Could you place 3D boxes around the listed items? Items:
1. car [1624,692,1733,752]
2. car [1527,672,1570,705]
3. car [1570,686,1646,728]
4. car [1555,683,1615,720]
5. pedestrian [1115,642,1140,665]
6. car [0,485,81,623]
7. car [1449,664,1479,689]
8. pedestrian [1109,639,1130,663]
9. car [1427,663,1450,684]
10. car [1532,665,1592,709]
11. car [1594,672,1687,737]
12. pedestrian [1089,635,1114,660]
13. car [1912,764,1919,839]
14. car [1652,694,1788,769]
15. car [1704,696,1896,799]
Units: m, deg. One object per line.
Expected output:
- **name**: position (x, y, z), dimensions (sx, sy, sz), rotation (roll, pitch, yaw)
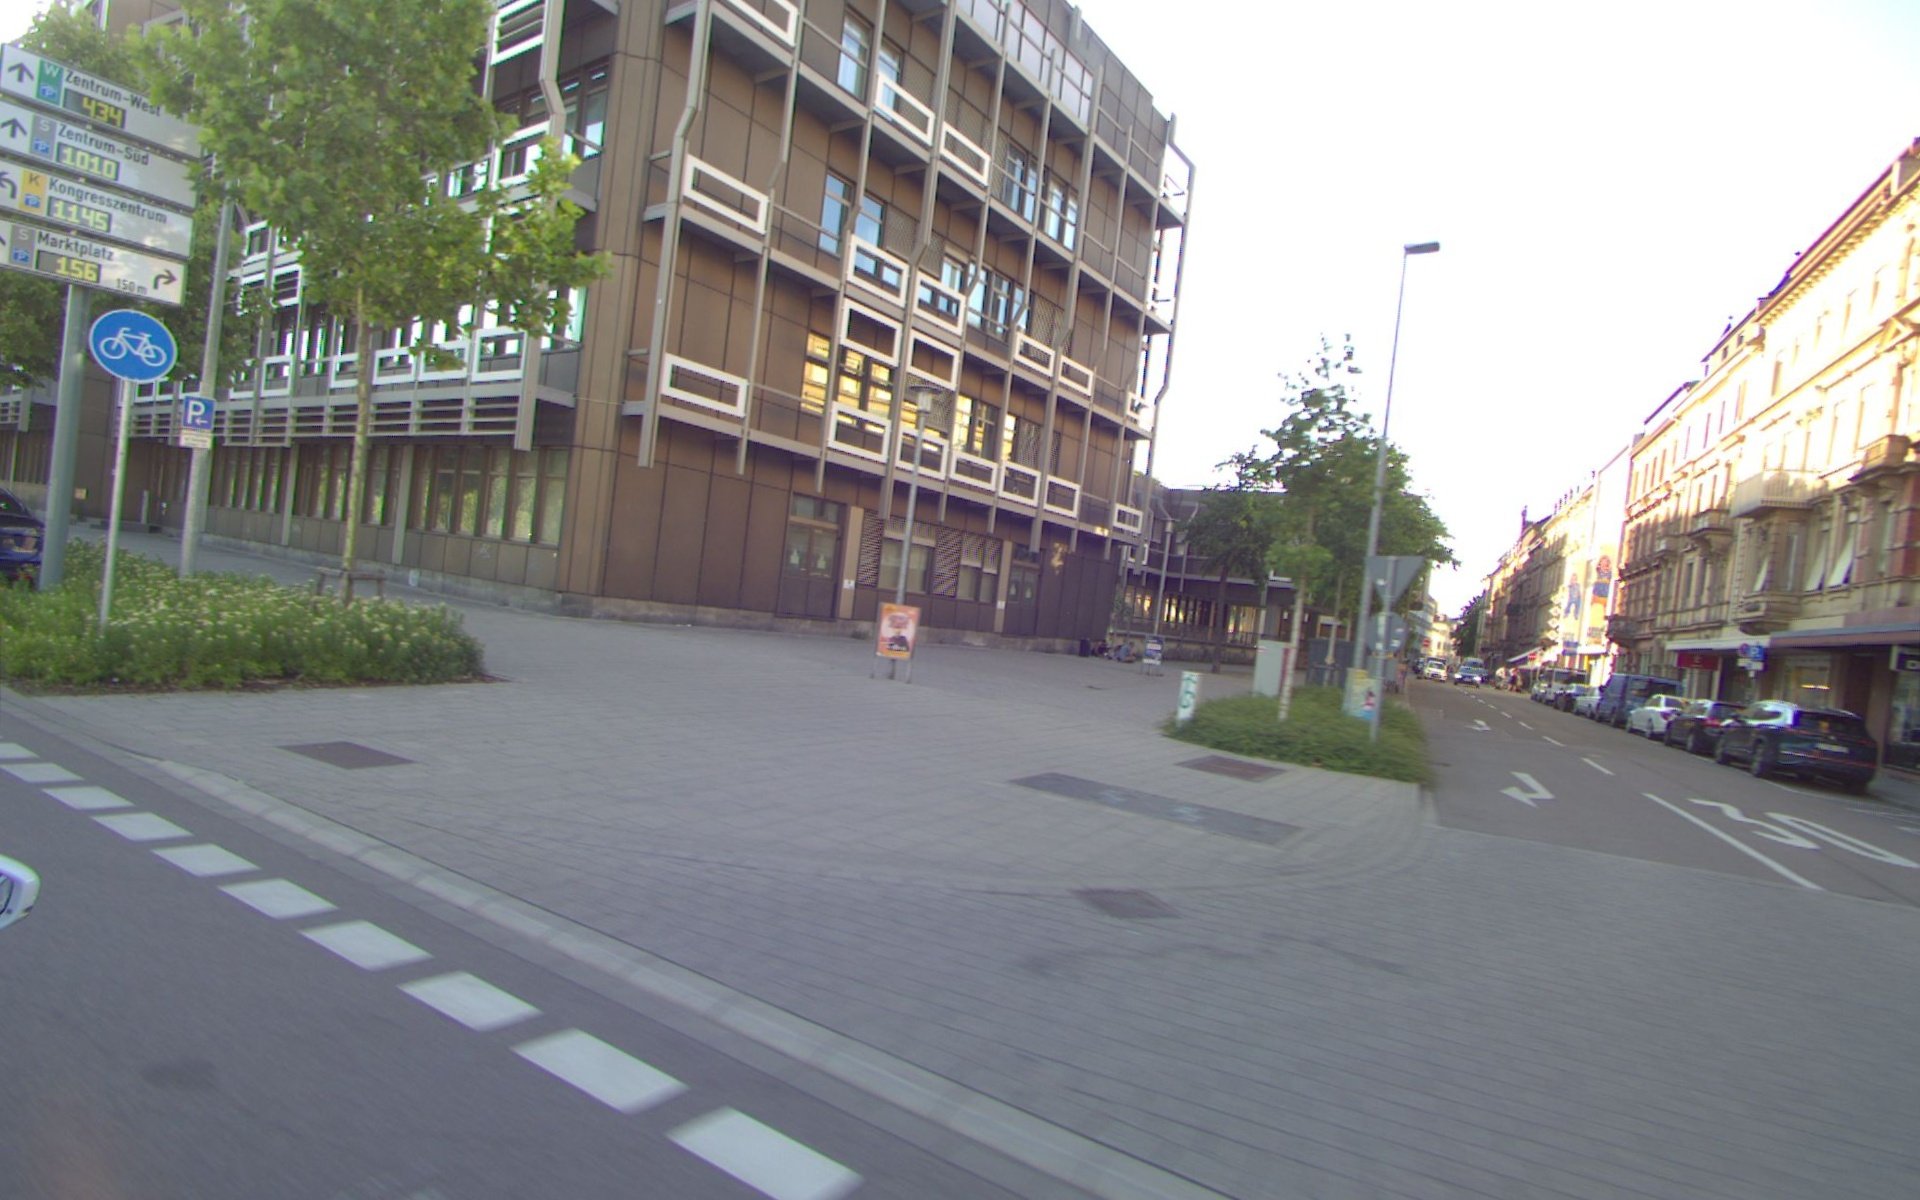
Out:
- **car**: position (22.248, 3.732, 31.319), dimensions (1.829, 1.408, 3.870), rotation (6, -1, 23)
- **car**: position (34.522, 5.168, 59.081), dimensions (1.628, 1.629, 3.378), rotation (6, -1, 24)
- **car**: position (26.739, 4.386, 41.649), dimensions (1.829, 1.347, 4.068), rotation (6, -1, 23)
- **car**: position (28.610, 4.611, 46.131), dimensions (1.633, 1.347, 3.932), rotation (6, -1, 23)
- **pedestrian**: position (6.170, 1.961, 37.114), dimensions (0.710, 0.736, 0.439), rotation (7, 1, -13)
- **car**: position (-13.582, -0.794, 12.930), dimensions (4.618, 1.620, 1.933), rotation (7, 2, 29)
- **car**: position (37.376, 5.680, 74.650), dimensions (1.628, 1.629, 3.378), rotation (6, -1, 23)
- **pedestrian**: position (6.150, 1.954, 38.737), dimensions (0.590, 0.831, 0.542), rotation (7, 1, -6)
- **car**: position (38.664, 5.905, 81.270), dimensions (1.346, 1.517, 2.952), rotation (7, 0, 23)
- **car**: position (31.719, 4.547, 53.158), dimensions (2.023, 2.003, 4.042), rotation (6, -1, 24)
- **car**: position (24.312, 3.669, 36.081), dimensions (1.829, 1.952, 4.052), rotation (6, -1, 23)
- **pedestrian**: position (5.345, 1.791, 38.020), dimensions (0.702, 0.831, 0.558), rotation (7, 1, -6)
- **car**: position (13.649, 2.526, 11.917), dimensions (1.829, 1.614, 4.554), rotation (6, -1, 23)
- **car**: position (20.371, 3.467, 27.168), dimensions (1.829, 1.500, 4.205), rotation (6, -1, 23)
- **car**: position (18.059, 3.085, 21.895), dimensions (1.843, 1.643, 4.453), rotation (6, -1, 23)
